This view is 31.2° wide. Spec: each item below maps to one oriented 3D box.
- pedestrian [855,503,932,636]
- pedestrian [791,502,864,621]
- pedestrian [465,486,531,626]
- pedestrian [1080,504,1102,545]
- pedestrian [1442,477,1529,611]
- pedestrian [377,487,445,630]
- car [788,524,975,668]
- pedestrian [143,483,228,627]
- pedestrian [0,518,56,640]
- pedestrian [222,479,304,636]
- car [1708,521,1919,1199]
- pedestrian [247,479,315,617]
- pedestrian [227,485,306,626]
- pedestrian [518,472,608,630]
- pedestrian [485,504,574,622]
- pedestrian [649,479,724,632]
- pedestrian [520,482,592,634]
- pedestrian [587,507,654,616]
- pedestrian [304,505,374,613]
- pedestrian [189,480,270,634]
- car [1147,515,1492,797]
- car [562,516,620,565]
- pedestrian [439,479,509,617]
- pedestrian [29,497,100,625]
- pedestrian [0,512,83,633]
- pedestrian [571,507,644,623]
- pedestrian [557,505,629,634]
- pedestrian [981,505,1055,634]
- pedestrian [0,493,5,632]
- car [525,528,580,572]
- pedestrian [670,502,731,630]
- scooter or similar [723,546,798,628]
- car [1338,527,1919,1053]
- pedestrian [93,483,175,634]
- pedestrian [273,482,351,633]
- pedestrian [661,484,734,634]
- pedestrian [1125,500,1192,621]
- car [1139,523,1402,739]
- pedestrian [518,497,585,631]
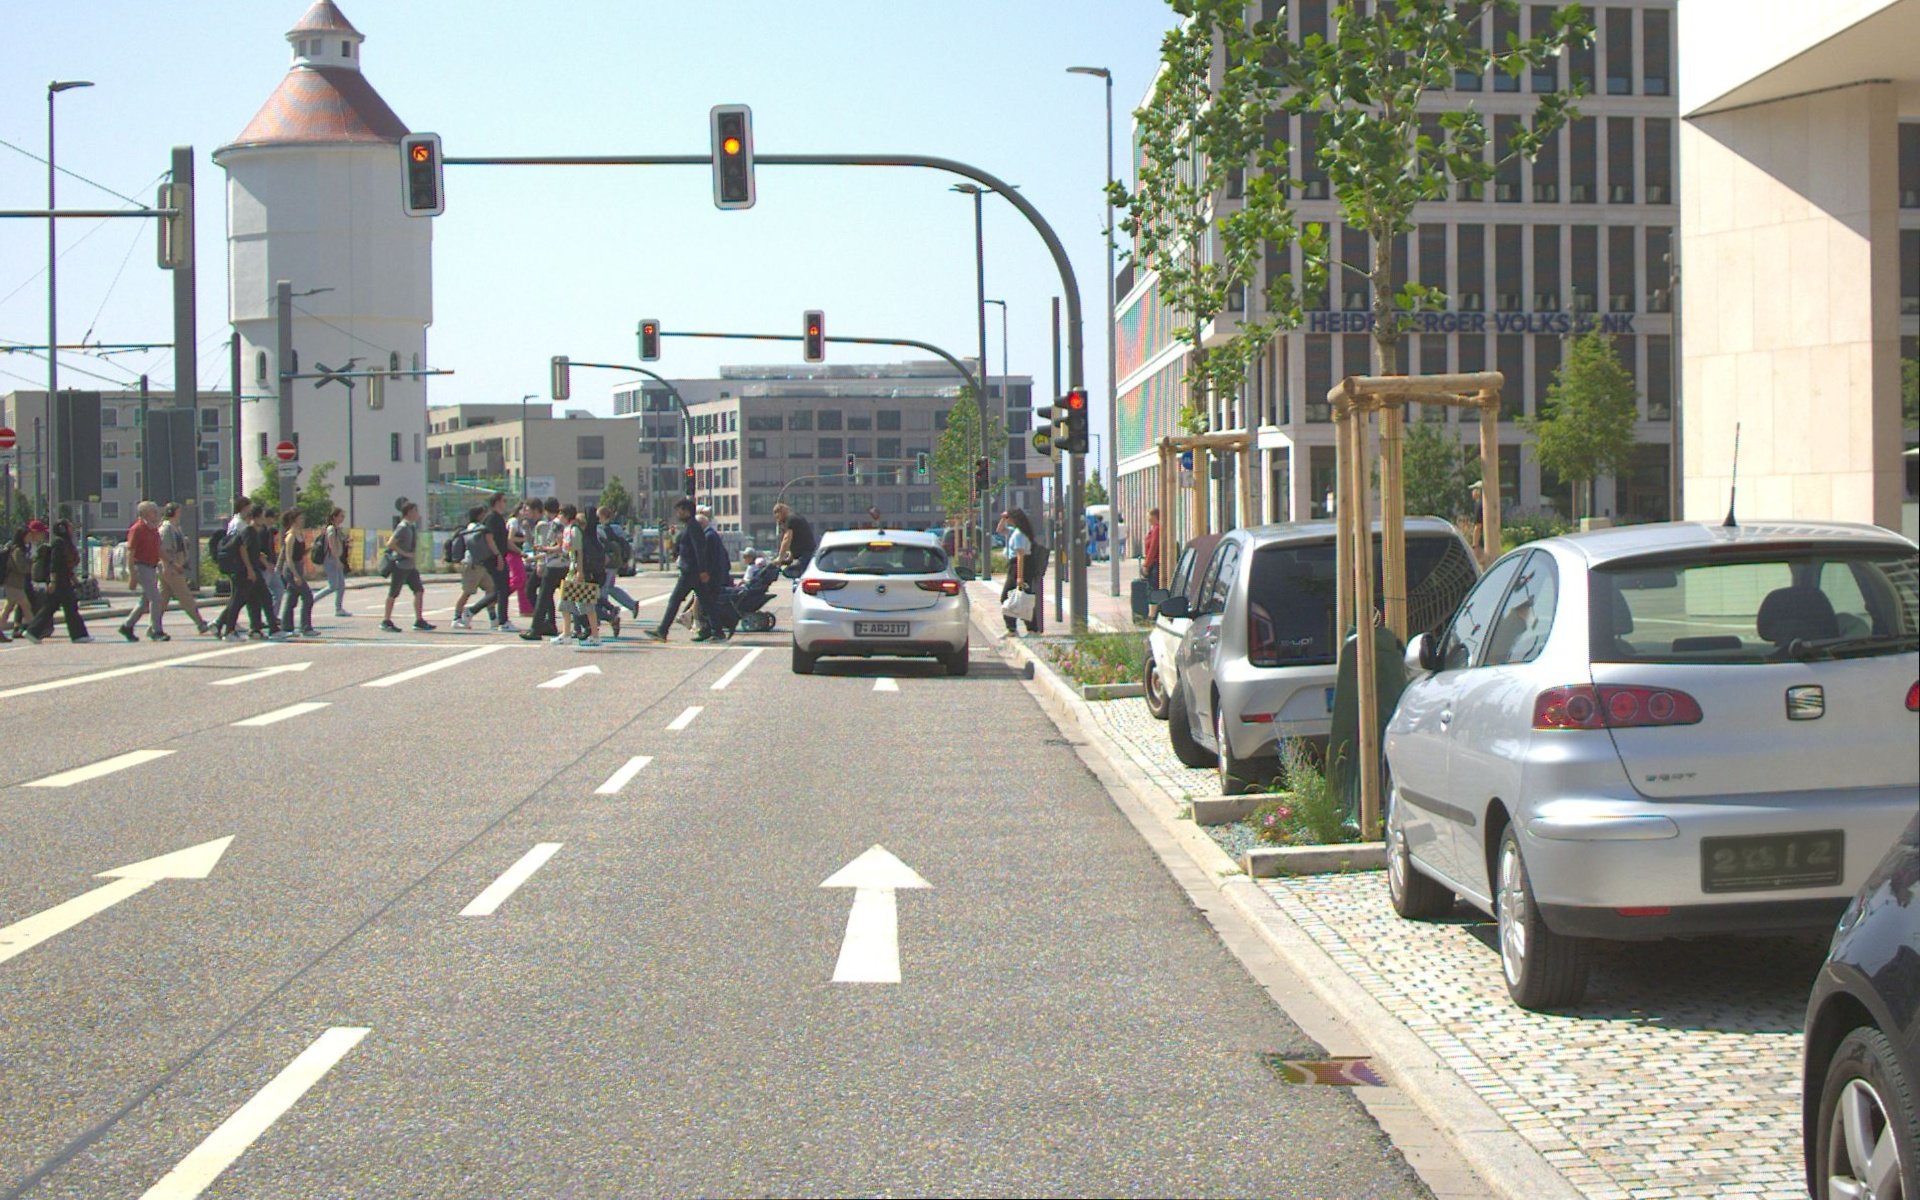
[{"bbox_3d":[-0.833,-0.386,42.801,0.887,1.629,0.692,-1,1,-6],"label":"pedestrian"},{"bbox_3d":[-1.856,-0.548,48.038,0.887,1.641,0.796,-1,1,-10],"label":"pedestrian"},{"bbox_3d":[-6.248,-0.600,46.532,0.766,1.884,0.692,-1,1,0],"label":"pedestrian"},{"bbox_3d":[5.171,-2.985,135.815,0.794,1.641,0.891,-1,1,-1],"label":"pedestrian"},{"bbox_3d":[6.599,-0.706,43.202,0.990,1.649,0.692,-1,1,1],"label":"pedestrian"},{"bbox_3d":[-7.329,-0.561,45.893,0.766,1.884,0.692,-1,1,0],"label":"pedestrian"},{"bbox_3d":[-0.761,-0.043,35.568,1.771,1.390,3.532,1,0,1],"label":"car"},{"bbox_3d":[-10.290,-0.602,45.701,0.888,1.884,0.796,-1,1,4],"label":"pedestrian"},{"bbox_3d":[-12.292,-0.279,44.940,0.728,1.570,0.641,-1,1,4],"label":"pedestrian"},{"bbox_3d":[-8.466,-0.519,41.790,0.887,1.884,0.692,-1,1,-6],"label":"pedestrian"},{"bbox_3d":[2.479,0.596,4.552,1.736,1.469,3.981,-4,2,-5],"label":"car"},{"bbox_3d":[-9.417,-0.725,47.729,0.734,1.884,0.713,1,1,4],"label":"pedestrian"},{"bbox_3d":[-9.335,-0.605,46.318,0.888,1.884,0.796,-1,1,-1],"label":"pedestrian"},{"bbox_3d":[-4.801,-0.600,41.608,1.013,1.884,0.798,-1,1,-3],"label":"pedestrian"},{"bbox_3d":[-6.714,-0.582,53.620,1.181,1.814,1.068,-1,1,3],"label":"pedestrian"},{"bbox_3d":[-3.417,-0.564,42.873,0.887,1.884,0.796,-1,1,-6],"label":"pedestrian"},{"bbox_3d":[-5.092,-0.532,43.341,0.730,1.884,0.821,-1,1,5],"label":"pedestrian"},{"bbox_3d":[-5.166,-0.598,52.389,0.888,1.641,0.796,-1,1,3],"label":"pedestrian"},{"bbox_3d":[-9.595,-0.635,53.153,0.888,1.641,0.796,-1,1,3],"label":"pedestrian"},{"bbox_3d":[-9.049,-0.533,42.608,0.887,1.884,0.692,-1,1,-6],"label":"pedestrian"},{"bbox_3d":[1.992,0.253,19.866,1.556,1.467,3.470,-1,1,-1],"label":"car"},{"bbox_3d":[-11.833,-1.902,110.471,1.586,1.525,3.693,0,0,-2],"label":"car"},{"bbox_3d":[-6.723,-0.717,47.562,0.841,1.884,0.692,-1,1,0],"label":"pedestrian"},{"bbox_3d":[-11.374,-0.502,43.691,0.633,1.612,0.768,-1,1,5],"label":"pedestrian"},{"bbox_3d":[-12.595,-0.378,47.046,0.910,1.631,0.814,-1,1,4],"label":"pedestrian"},{"bbox_3d":[-5.016,-0.504,48.963,0.888,1.641,0.796,-1,1,3],"label":"pedestrian"},{"bbox_3d":[-4.724,-0.401,44.301,0.794,1.641,0.891,-1,1,1],"label":"pedestrian"},{"bbox_3d":[0.736,-0.390,43.560,0.767,1.614,0.691,0,1,16],"label":"pedestrian"},{"bbox_3d":[-14.408,-0.540,49.782,1.020,2.007,0.955,-1,1,-19],"label":"pedestrian"},{"bbox_3d":[-14.124,-1.726,119.317,1.586,1.525,3.258,0,0,-1],"label":"car"},{"bbox_3d":[-3.549,-0.472,47.047,0.766,1.728,0.692,-1,1,0],"label":"pedestrian"},{"bbox_3d":[-2.778,-0.187,47.883,0.950,1.114,0.767,-1,1,-10],"label":"scooter or similar"},{"bbox_3d":[2.363,0.501,11.686,1.605,1.383,3.815,-4,1,-1],"label":"car"},{"bbox_3d":[-10.417,-0.532,43.381,0.887,1.884,0.692,-1,1,-6],"label":"pedestrian"},{"bbox_3d":[-8.195,-0.538,43.520,0.887,1.884,0.692,-1,1,-6],"label":"pedestrian"},{"bbox_3d":[-3.341,-0.528,43.757,0.887,1.884,0.796,-1,1,-6],"label":"pedestrian"},{"bbox_3d":[2.713,-0.543,46.951,0.888,1.641,0.796,0,1,3],"label":"pedestrian"},{"bbox_3d":[2.137,0.159,24.516,1.429,1.385,4.000,-1,1,-1],"label":"car"},{"bbox_3d":[-5.346,-0.474,45.048,0.766,1.728,0.692,-1,1,0],"label":"pedestrian"}]
